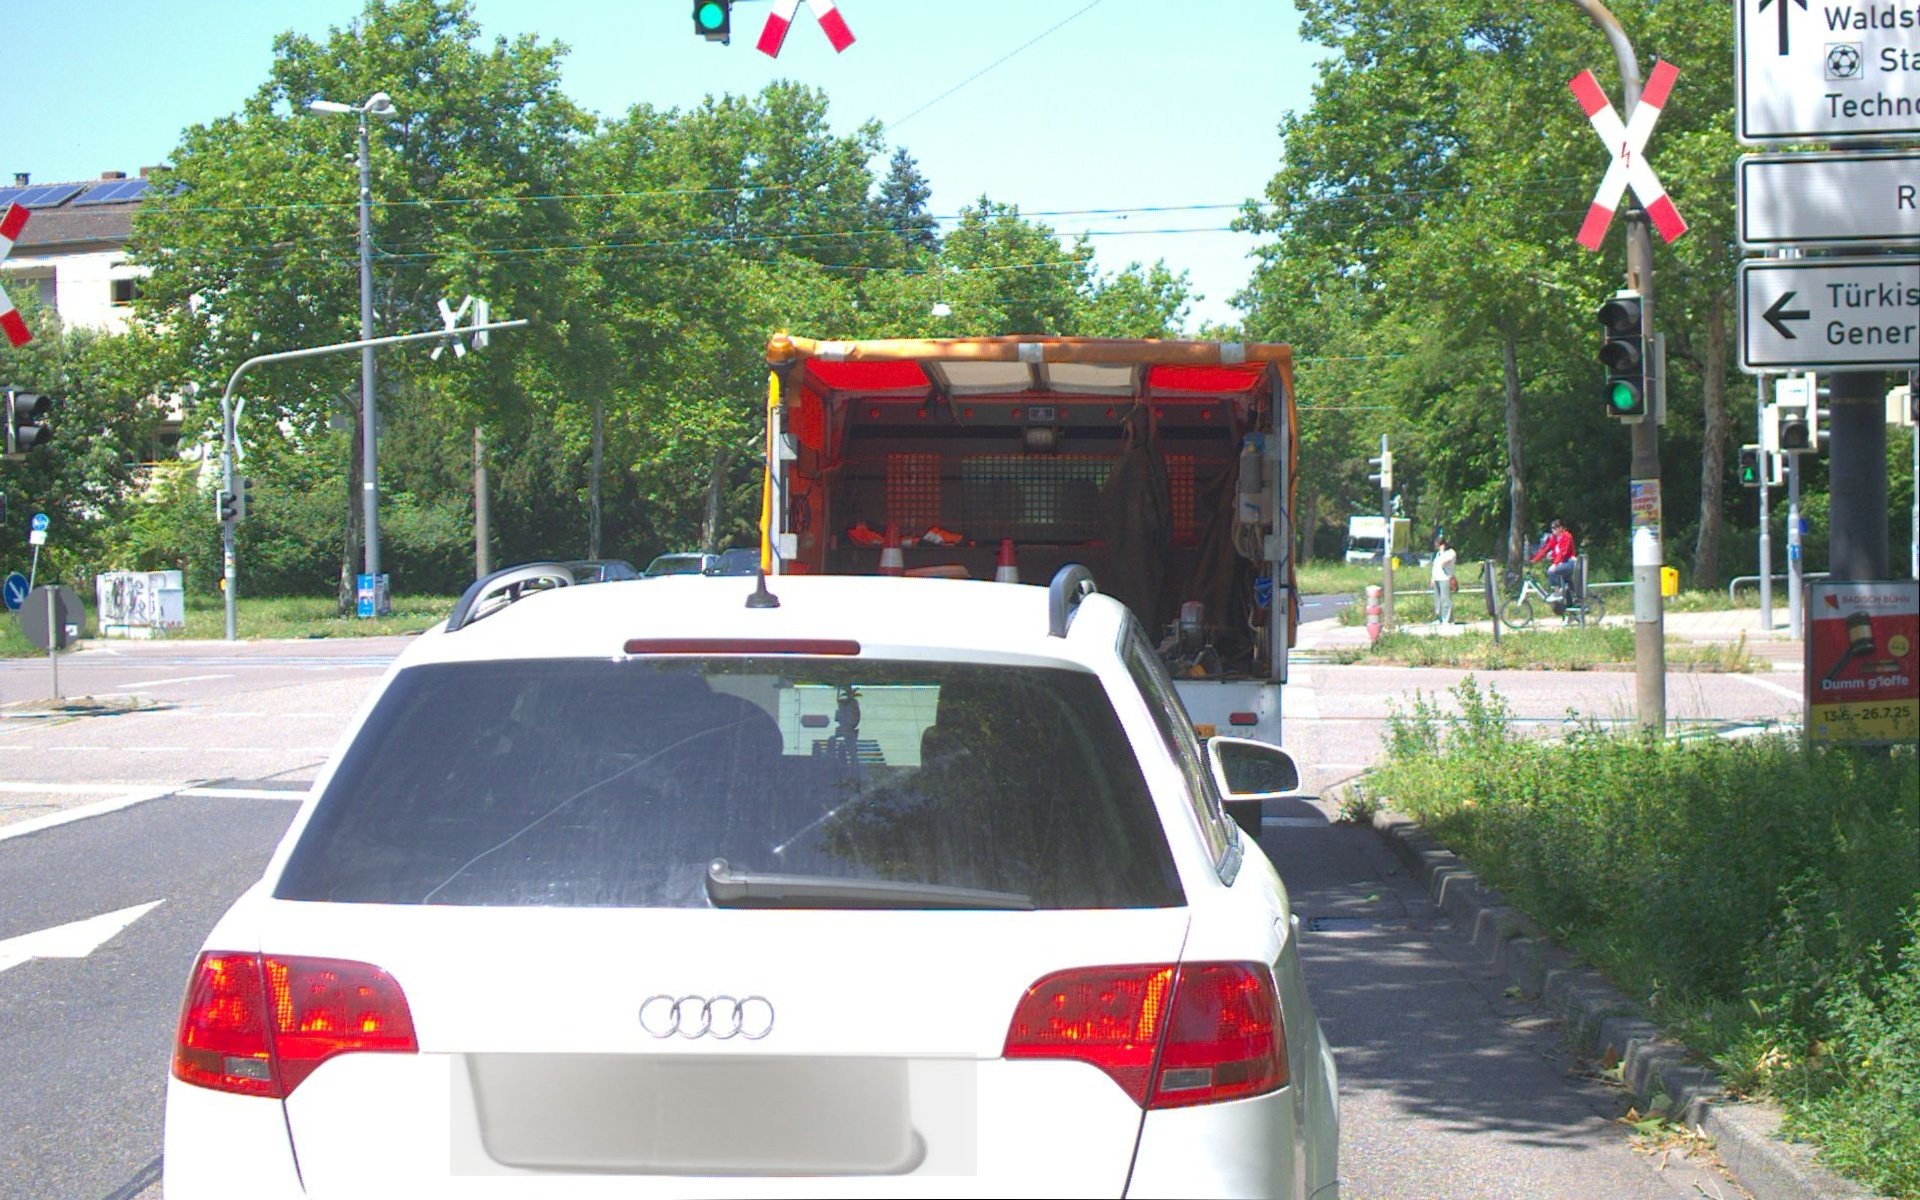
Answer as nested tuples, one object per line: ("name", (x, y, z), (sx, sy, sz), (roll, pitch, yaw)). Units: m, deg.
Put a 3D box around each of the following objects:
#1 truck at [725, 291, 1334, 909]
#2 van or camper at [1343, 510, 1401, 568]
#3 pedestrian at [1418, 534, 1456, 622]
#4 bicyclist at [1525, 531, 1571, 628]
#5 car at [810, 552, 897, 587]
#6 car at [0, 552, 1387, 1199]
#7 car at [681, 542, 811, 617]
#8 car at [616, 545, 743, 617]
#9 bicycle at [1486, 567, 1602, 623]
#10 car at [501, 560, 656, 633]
("truck", (0.456, -0.047, 18.176), (2.511, 2.551, 7.603), (1, 1, 3))
("van or camper", (24.178, -3.553, 201.698), (2.662, 3.320, 5.497), (0, 1, 14))
("pedestrian", (8.093, -0.382, 58.315), (0.553, 1.479, 0.629), (-1, 1, 16))
("bicyclist", (9.540, -0.338, 55.800), (0.671, 1.551, 0.579), (-1, 1, 5))
("car", (-4.295, -1.234, 139.215), (1.884, 1.388, 3.994), (0, 1, 26))
("car", (-0.250, 0.648, 6.044), (1.763, 1.440, 3.615), (0, 1, 4))
("car", (-4.574, -0.468, 74.127), (1.909, 1.533, 4.297), (-1, 1, 8))
("car", (-6.562, -0.463, 80.767), (1.788, 1.609, 4.402), (-1, 1, 12))
("bicycle", (9.476, -0.078, 55.809), (1.806, 0.892, 0.589), (0, 1, 5))
("car", (-8.102, -0.091, 73.457), (1.950, 1.435, 4.744), (0, 1, 11))
